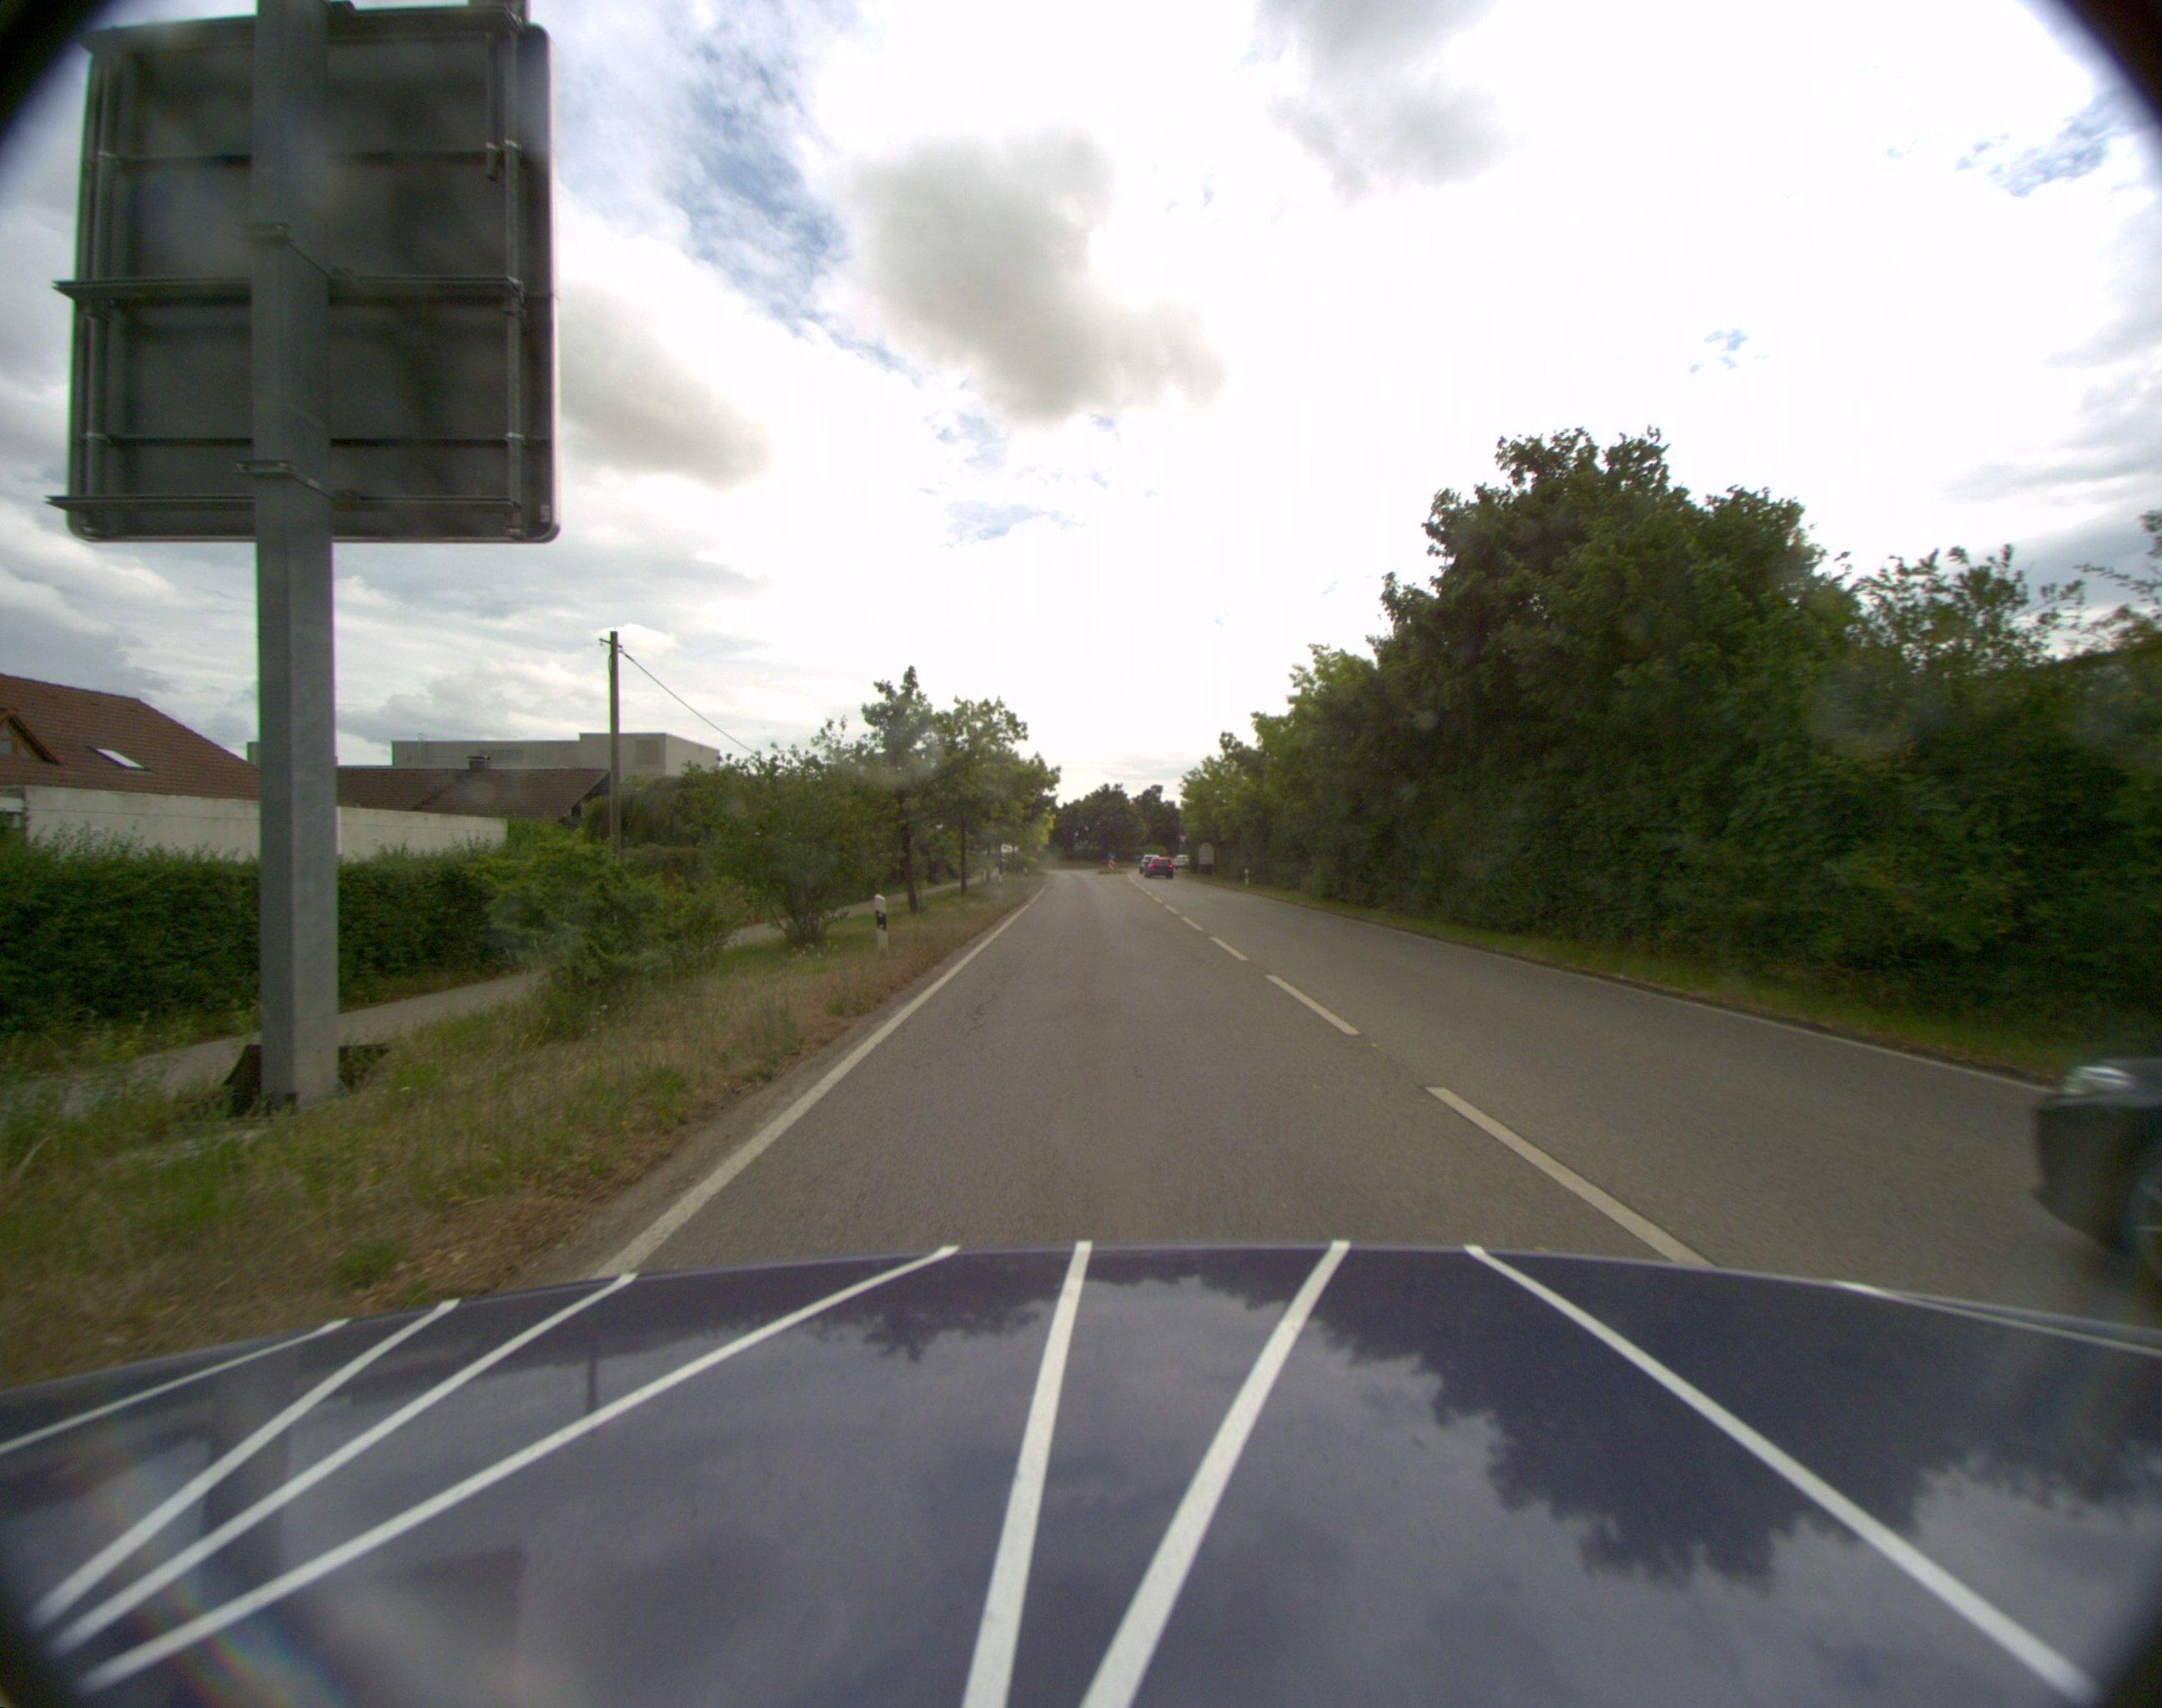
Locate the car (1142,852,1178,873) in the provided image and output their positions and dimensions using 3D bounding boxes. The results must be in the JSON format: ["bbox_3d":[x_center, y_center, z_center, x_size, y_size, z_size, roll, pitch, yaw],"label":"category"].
[{"bbox_3d":[5.519,0.576,53.579,1.999,1.411,4.477,1,1,-1],"label":"car"}]

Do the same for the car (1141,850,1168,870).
[{"bbox_3d":[6.234,0.488,64.670,1.998,1.592,4.665,1,1,2],"label":"car"}]

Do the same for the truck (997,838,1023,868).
[{"bbox_3d":[-8.626,-0.112,92.107,2.616,3.427,7.501,-2,0,-9],"label":"truck"}]
